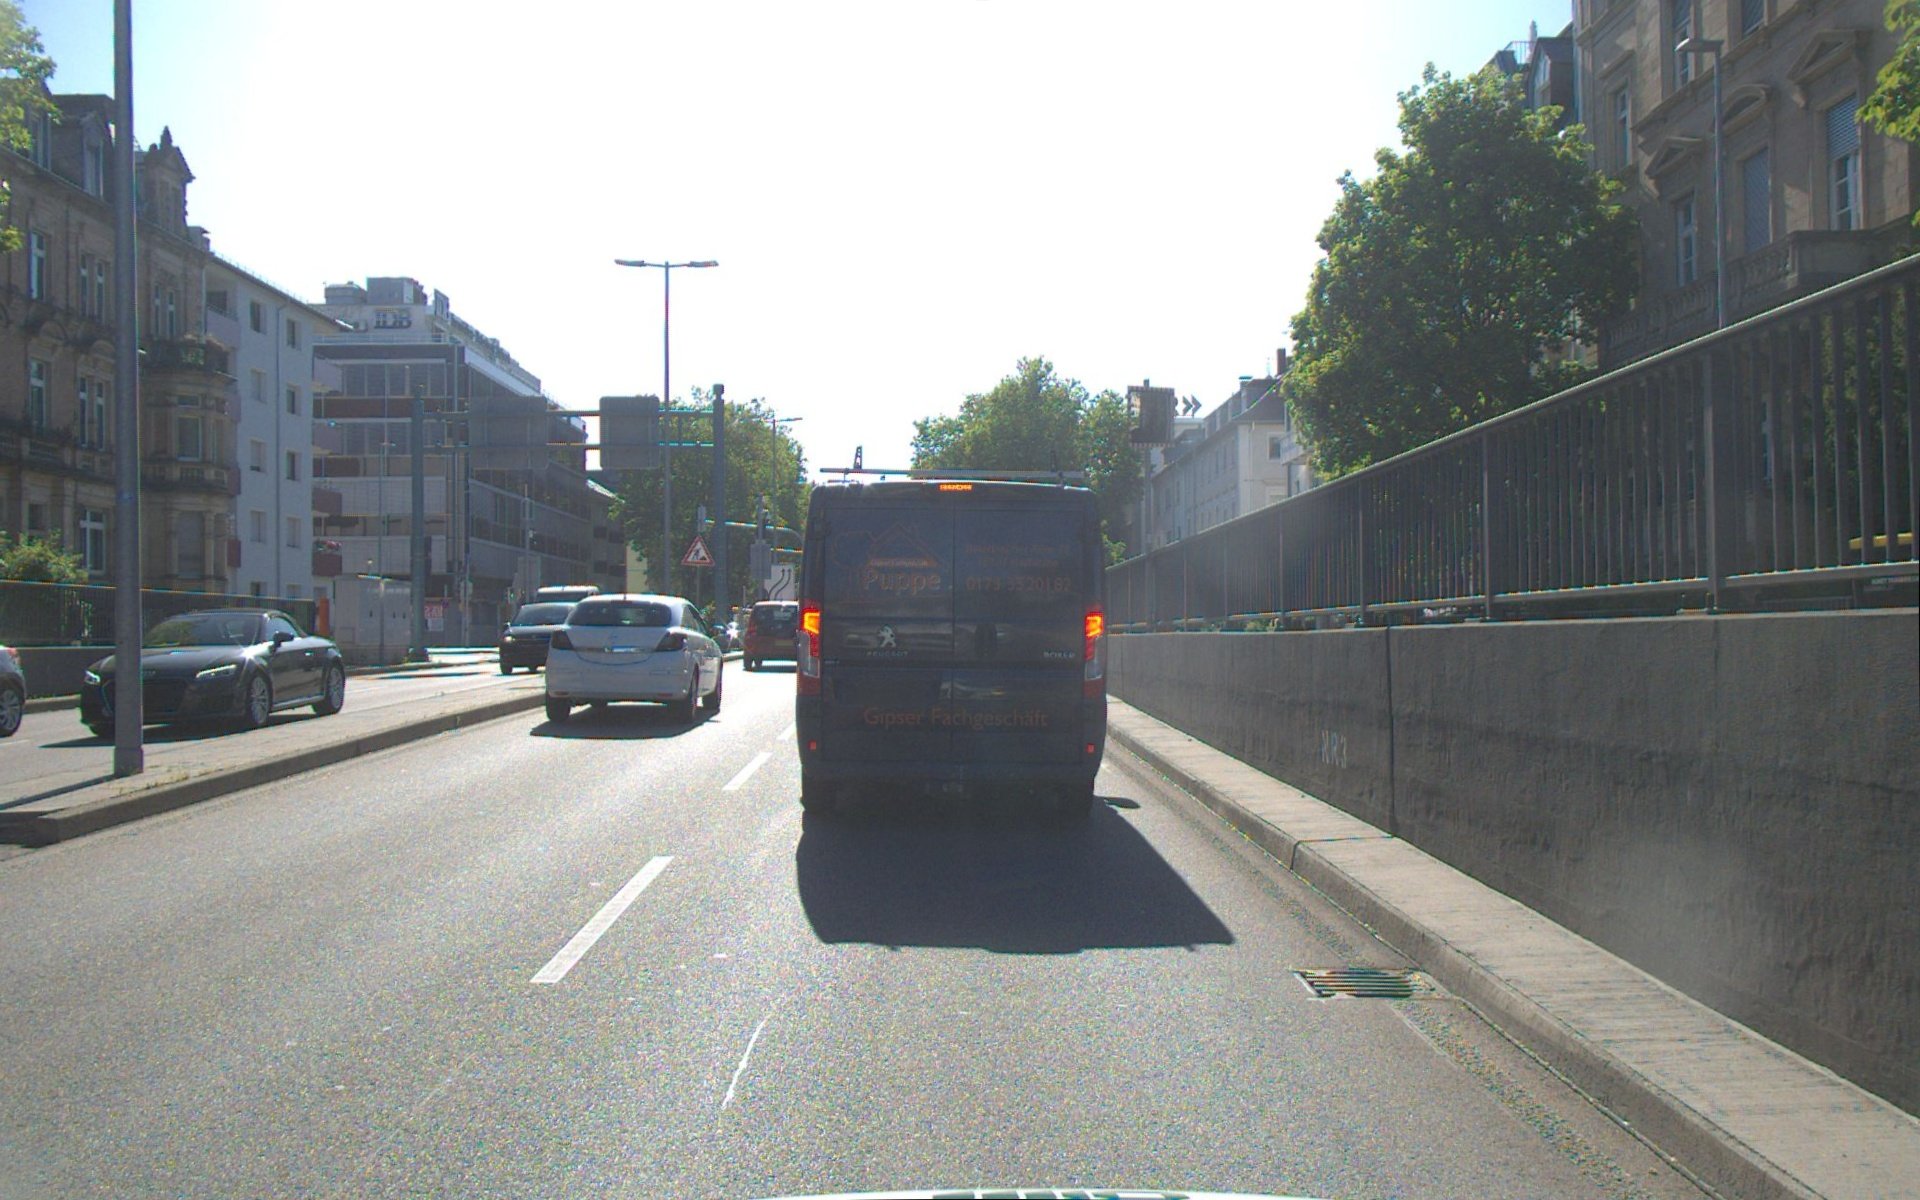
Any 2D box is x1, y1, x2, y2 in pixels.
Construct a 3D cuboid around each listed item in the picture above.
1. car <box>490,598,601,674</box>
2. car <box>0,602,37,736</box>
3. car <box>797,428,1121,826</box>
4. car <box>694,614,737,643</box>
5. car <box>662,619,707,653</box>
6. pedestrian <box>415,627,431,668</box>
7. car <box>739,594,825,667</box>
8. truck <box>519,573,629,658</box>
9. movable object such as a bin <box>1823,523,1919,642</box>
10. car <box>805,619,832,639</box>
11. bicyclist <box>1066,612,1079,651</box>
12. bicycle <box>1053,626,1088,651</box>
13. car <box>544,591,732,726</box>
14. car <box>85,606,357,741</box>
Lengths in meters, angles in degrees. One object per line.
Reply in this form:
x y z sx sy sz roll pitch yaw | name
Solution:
-9.022 0.750 36.233 1.577 1.483 3.607 -3 0 -2 | car
-11.446 0.819 17.323 1.508 1.490 3.716 -3 0 -2 | car
-0.048 0.187 12.180 1.989 2.444 3.971 0 -1 -2 | car
-14.112 1.618 95.602 1.897 1.582 3.922 1 -1 -1 | car
-12.887 1.660 77.548 1.559 1.470 3.494 -3 -1 -2 | car
-25.640 2.260 78.950 0.648 1.929 0.720 1 -1 -14 | pedestrian
-3.951 0.651 37.198 1.655 1.509 3.317 1 0 -2 | car
-12.607 0.515 54.492 2.183 2.572 6.128 -2 -1 -1 | truck
11.657 -0.237 20.115 1.424 1.347 1.403 -6 1 -19 | movable object such as a bin
-11.454 2.327 134.441 1.897 1.582 3.922 1 -1 -1 | car
5.141 1.447 75.681 0.499 1.766 0.597 1 -1 -2 | bicyclist
5.060 1.764 75.675 1.534 1.138 0.570 1 -1 -2 | bicycle
-3.763 0.624 19.912 1.586 1.428 3.851 1 0 -2 | car
-8.545 0.789 19.491 1.508 1.322 3.926 -3 0 -2 | car
